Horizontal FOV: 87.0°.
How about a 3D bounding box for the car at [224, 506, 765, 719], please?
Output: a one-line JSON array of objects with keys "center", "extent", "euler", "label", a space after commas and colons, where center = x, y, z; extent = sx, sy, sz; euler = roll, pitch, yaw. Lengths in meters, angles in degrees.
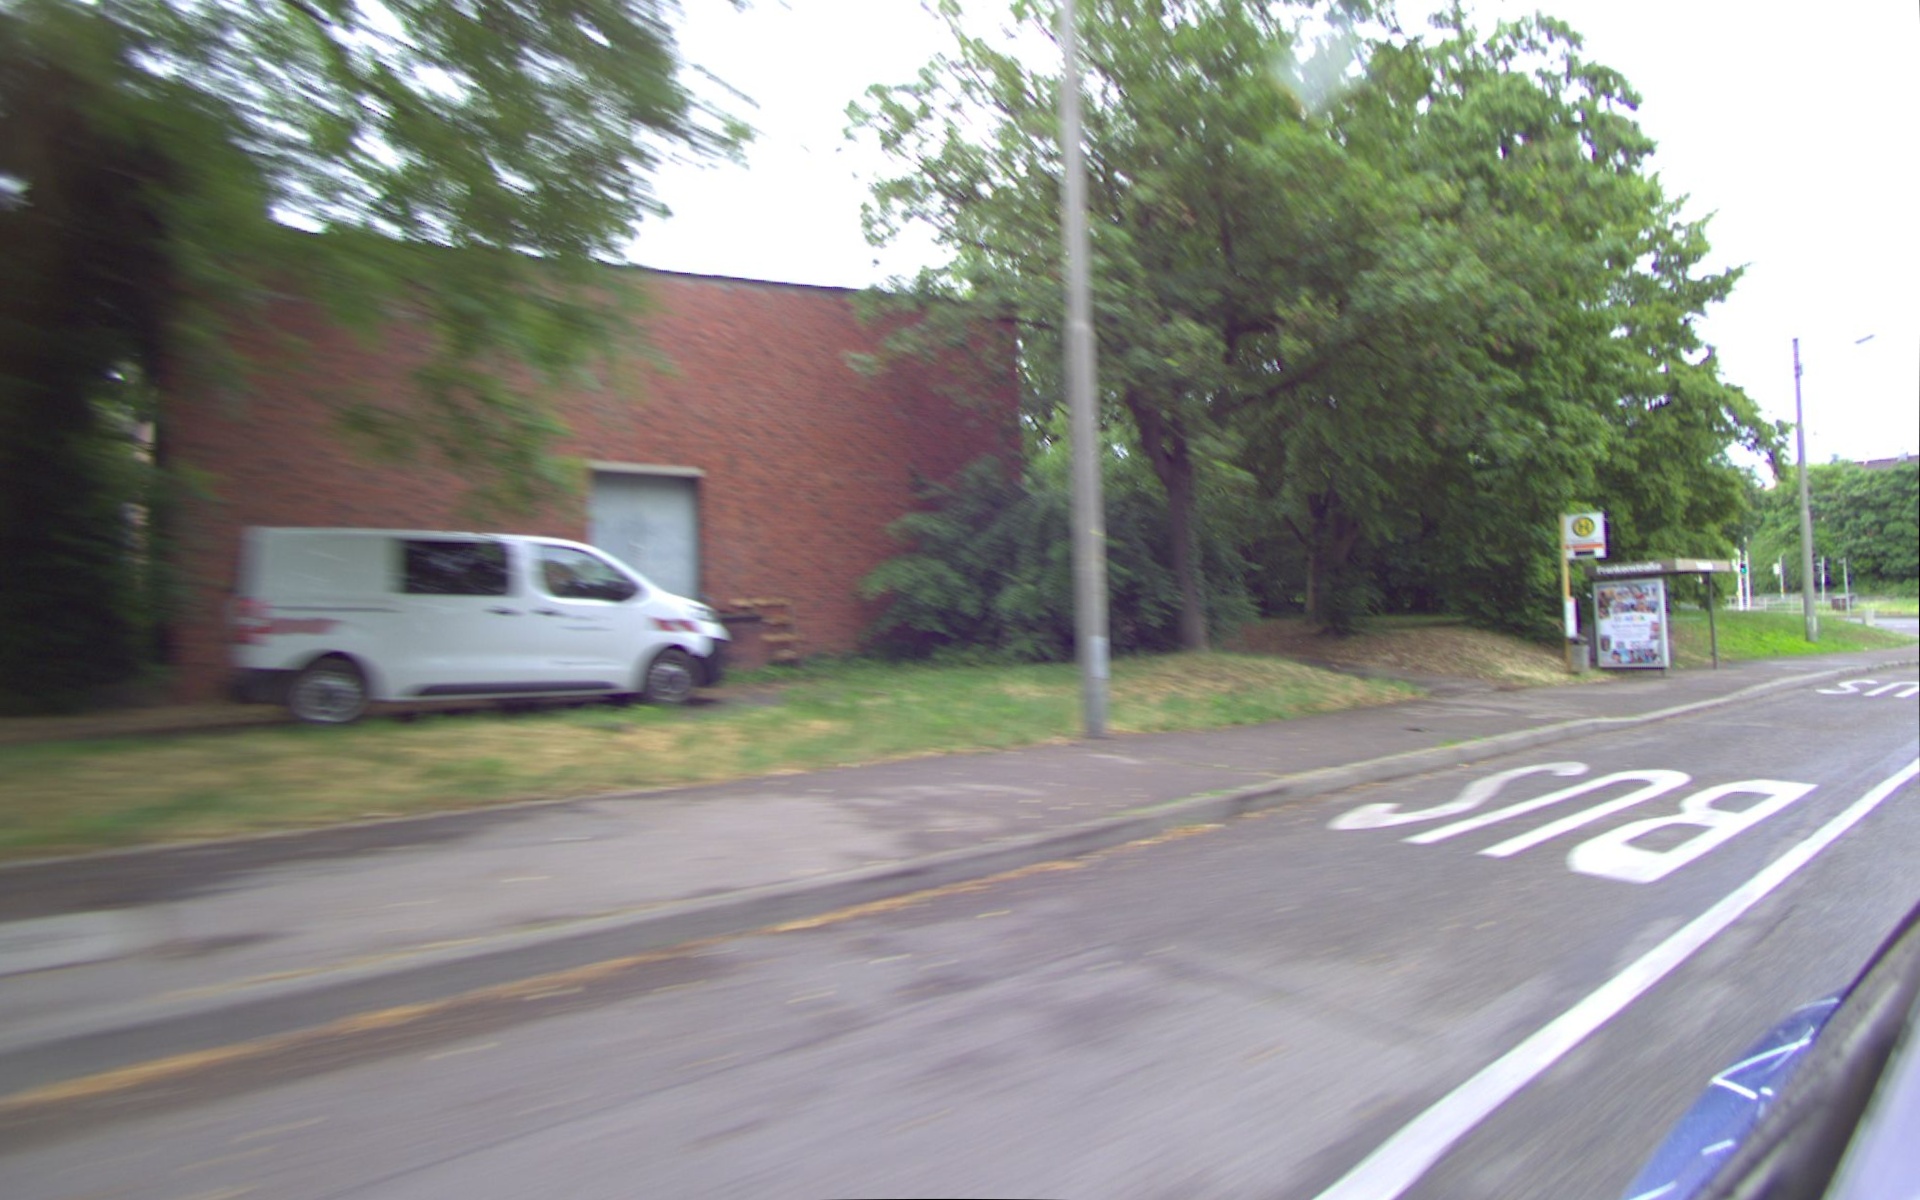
[{"center": [-4.877, 0.155, 11.045], "extent": [5.052, 1.828, 1.998], "euler": [0, -3, -38], "label": "car"}]
